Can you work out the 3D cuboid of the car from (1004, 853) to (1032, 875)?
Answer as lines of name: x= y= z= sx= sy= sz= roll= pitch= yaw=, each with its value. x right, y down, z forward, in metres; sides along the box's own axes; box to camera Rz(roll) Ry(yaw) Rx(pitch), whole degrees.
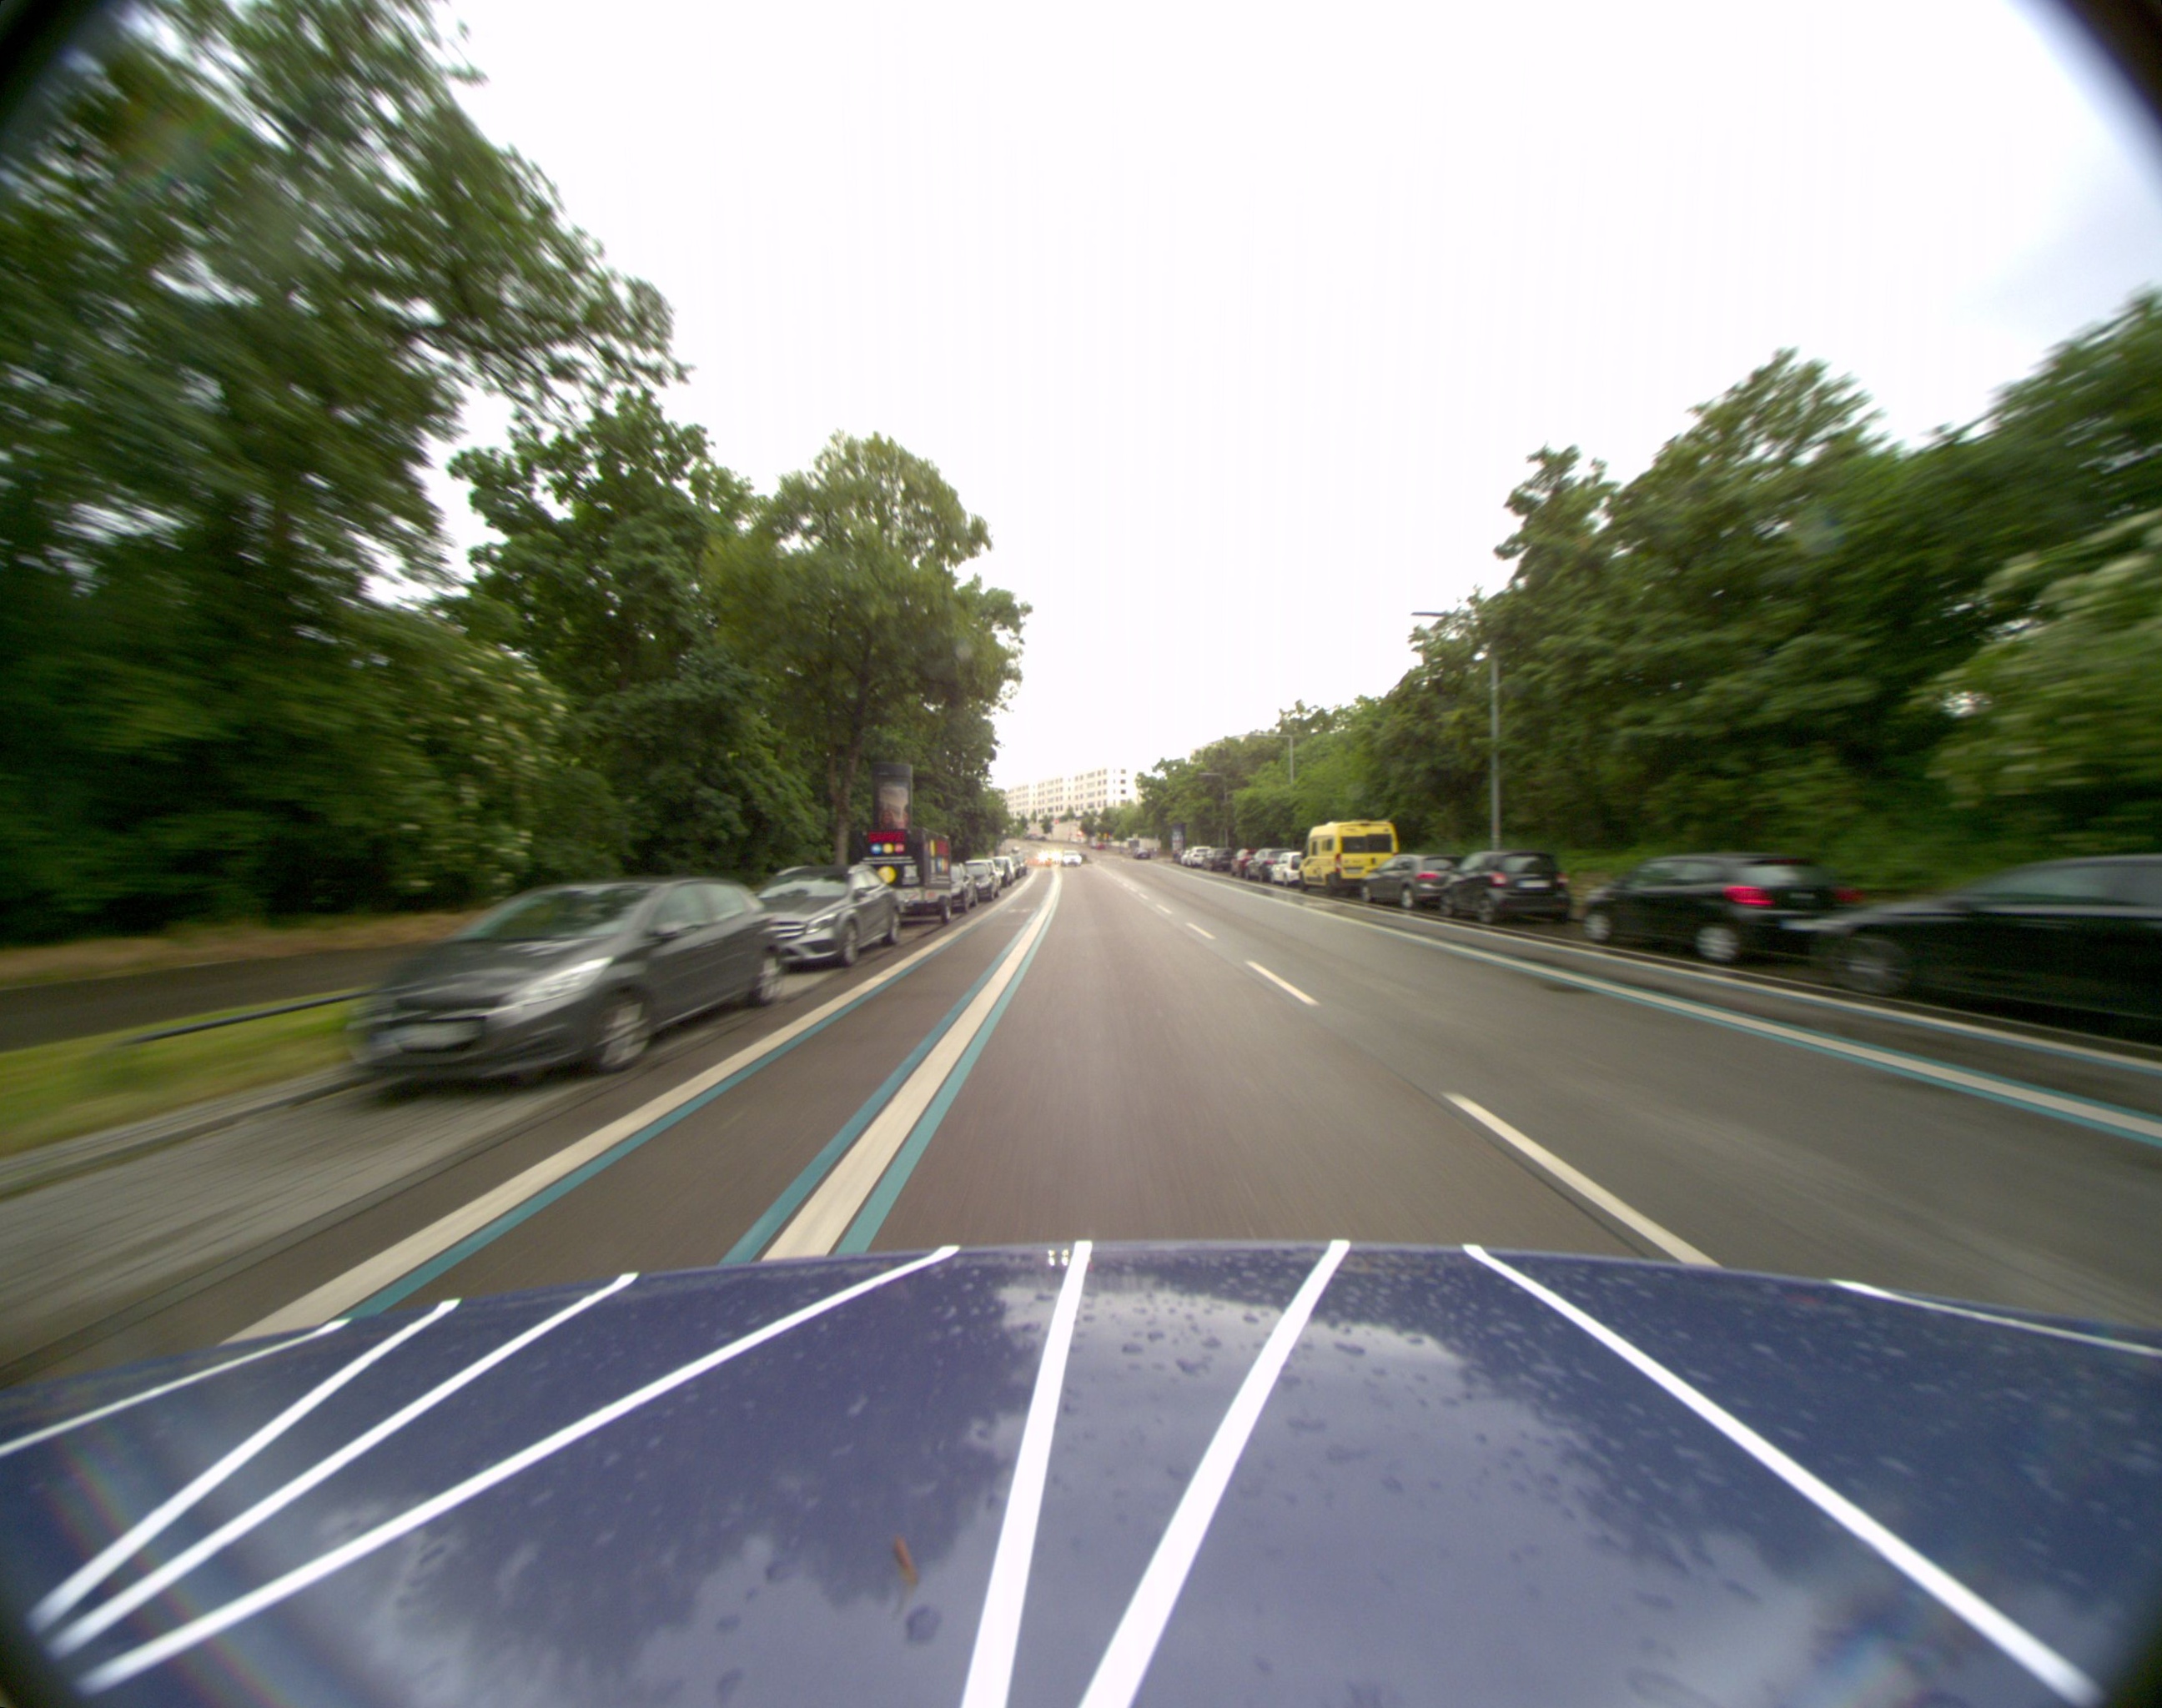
car: x=-4.596 y=0.684 z=55.640 sx=1.858 sy=1.391 sz=4.383 roll=-3 pitch=1 yaw=-4

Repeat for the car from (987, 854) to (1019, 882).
car: x=-4.512 y=0.787 z=44.443 sx=1.564 sy=1.452 sz=3.674 roll=-3 pitch=1 yaw=-2

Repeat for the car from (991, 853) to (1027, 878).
car: x=-4.671 y=0.711 z=49.790 sx=1.861 sy=1.447 sz=4.749 roll=-3 pitch=1 yaw=-1

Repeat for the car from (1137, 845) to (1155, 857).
car: x=8.829 y=-0.439 z=103.845 sx=1.911 sy=1.406 sz=4.781 roll=-3 pitch=2 yaw=0

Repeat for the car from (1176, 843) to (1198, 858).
car: x=10.437 y=-0.359 z=75.118 sx=1.753 sy=1.437 sz=4.587 roll=-2 pitch=1 yaw=3

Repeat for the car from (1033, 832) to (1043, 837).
car: x=-13.530 y=-6.165 z=240.722 sx=1.866 sy=1.470 sz=3.990 roll=-2 pitch=3 yaw=-25

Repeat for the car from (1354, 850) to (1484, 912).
car: x=9.184 y=0.657 z=21.016 sx=1.684 sy=1.490 sz=4.147 roll=-1 pitch=1 yaw=-1

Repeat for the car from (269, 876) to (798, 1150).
car: x=-4.143 y=1.054 z=6.716 sx=1.619 sy=1.462 sz=4.000 roll=-3 pitch=1 yaw=2

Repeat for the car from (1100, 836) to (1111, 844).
car: x=5.255 y=-2.957 z=165.389 sx=1.670 sy=1.578 sz=4.211 roll=-1 pitch=3 yaw=-8

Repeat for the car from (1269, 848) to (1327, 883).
car: x=9.557 y=0.465 z=33.757 sx=1.621 sy=1.440 sz=3.656 roll=-1 pitch=1 yaw=1

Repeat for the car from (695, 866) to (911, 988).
car: x=-4.183 y=1.006 z=12.303 sx=1.800 sy=1.442 sz=4.427 roll=-1 pitch=1 yaw=0

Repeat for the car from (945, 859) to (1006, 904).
car: x=-3.895 y=0.965 z=28.603 sx=1.756 sy=1.385 sz=4.444 roll=-4 pitch=1 yaw=-2

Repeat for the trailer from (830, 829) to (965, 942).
trailer: x=-4.098 y=0.610 z=17.838 sx=1.911 sy=2.235 sz=4.767 roll=-2 pitch=1 yaw=0

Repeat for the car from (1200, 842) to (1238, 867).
car: x=10.006 y=-0.002 z=55.534 sx=1.736 sy=1.639 sz=4.569 roll=-2 pitch=1 yaw=-2

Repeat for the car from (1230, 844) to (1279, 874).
car: x=9.942 y=0.232 z=43.829 sx=1.923 sy=1.608 sz=4.489 roll=-1 pitch=1 yaw=1

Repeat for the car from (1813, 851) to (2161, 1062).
car: x=8.801 y=0.740 z=6.074 sx=1.998 sy=1.444 sz=4.138 roll=-2 pitch=1 yaw=2

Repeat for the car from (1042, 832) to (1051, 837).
car: x=-10.713 y=-5.915 z=235.180 sx=1.683 sy=1.451 sz=2.689 roll=-2 pitch=4 yaw=-26

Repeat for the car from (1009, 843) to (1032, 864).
car: x=-5.206 y=-0.064 z=66.149 sx=1.827 sy=1.606 sz=4.249 roll=-4 pitch=1 yaw=-4

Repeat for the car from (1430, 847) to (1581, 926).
car: x=9.099 y=0.630 z=16.573 sx=1.606 sy=1.501 sz=3.139 roll=-2 pitch=1 yaw=2

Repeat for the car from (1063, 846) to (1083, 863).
car: x=-0.834 y=0.014 z=76.210 sx=1.927 sy=1.652 sz=3.999 roll=-2 pitch=1 yaw=-1

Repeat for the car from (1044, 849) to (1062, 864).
car: x=-3.471 y=0.317 z=93.223 sx=1.830 sy=1.585 sz=3.996 roll=-3 pitch=2 yaw=-6

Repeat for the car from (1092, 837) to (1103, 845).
car: x=3.676 y=-2.926 z=172.056 sx=1.769 sy=1.645 sz=4.877 roll=-3 pitch=3 yaw=-8

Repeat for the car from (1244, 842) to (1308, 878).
car: x=9.770 y=0.250 z=38.479 sx=1.999 sy=1.690 sz=4.614 roll=-2 pitch=1 yaw=-1

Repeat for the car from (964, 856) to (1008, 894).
car: x=-4.267 y=0.899 z=34.453 sx=1.622 sy=1.458 sz=3.998 roll=-3 pitch=1 yaw=-3

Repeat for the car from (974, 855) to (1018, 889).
car: x=-4.256 y=0.890 z=38.626 sx=1.663 sy=1.457 sz=3.899 roll=-4 pitch=1 yaw=0

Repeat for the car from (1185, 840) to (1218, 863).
car: x=10.040 y=-0.252 z=63.573 sx=1.998 sy=1.755 sz=4.959 roll=-2 pitch=1 yaw=0

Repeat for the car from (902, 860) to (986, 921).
car: x=-4.025 y=1.013 z=22.992 sx=1.827 sy=1.477 sz=4.198 roll=-4 pitch=1 yaw=-2

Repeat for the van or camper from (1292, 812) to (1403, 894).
van or camper: x=9.416 y=-0.073 z=27.439 sx=2.149 sy=2.612 sz=5.682 roll=-1 pitch=1 yaw=2

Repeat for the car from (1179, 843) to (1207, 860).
car: x=10.177 y=-0.215 z=69.327 sx=1.723 sy=1.452 sz=4.707 roll=-2 pitch=1 yaw=0

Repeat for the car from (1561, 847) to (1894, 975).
car: x=9.072 y=0.671 z=11.181 sx=1.606 sy=1.501 sz=3.976 roll=-2 pitch=1 yaw=2
